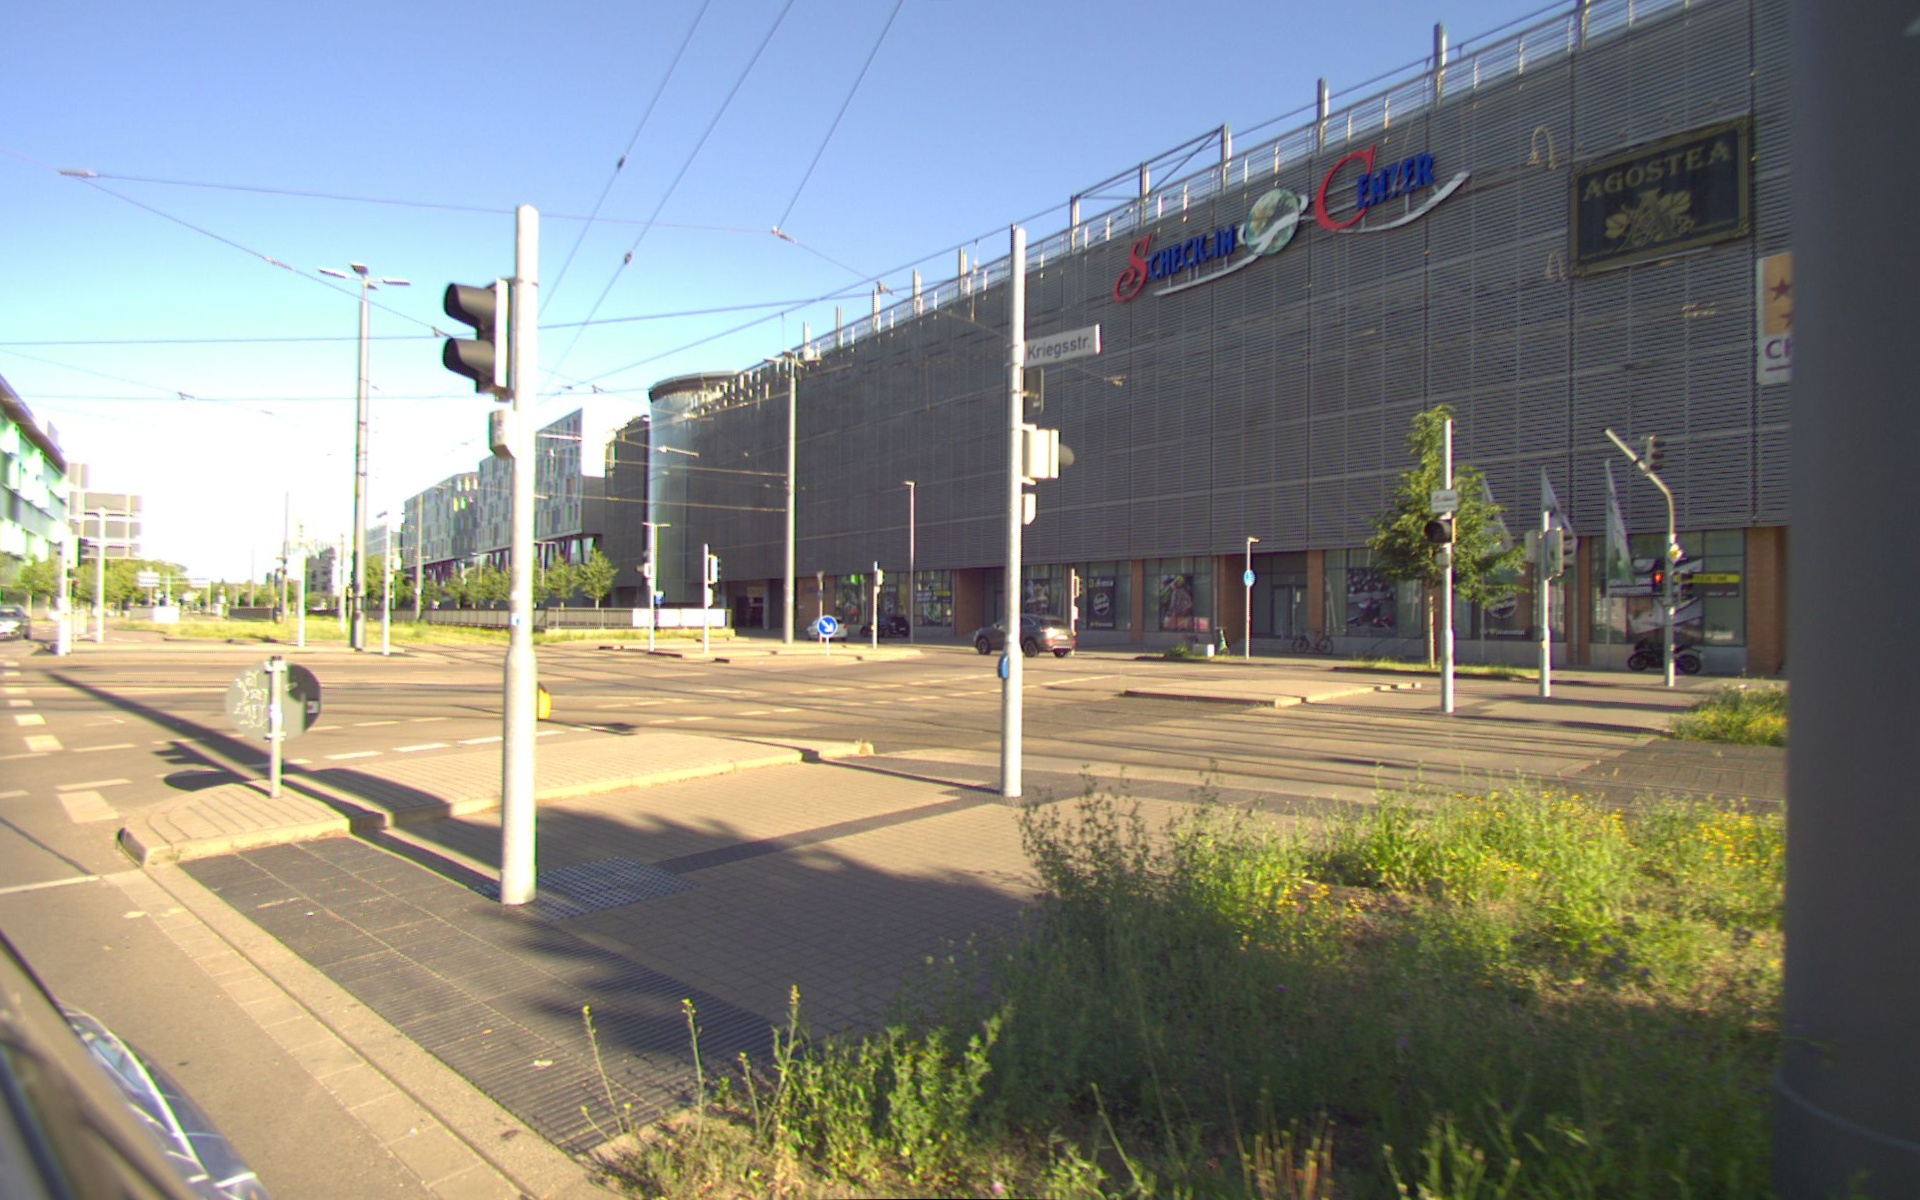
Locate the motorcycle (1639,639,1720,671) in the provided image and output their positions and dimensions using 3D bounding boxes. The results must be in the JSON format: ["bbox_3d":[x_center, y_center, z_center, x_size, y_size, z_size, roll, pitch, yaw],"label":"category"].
[{"bbox_3d":[22.569,1.713,31.777,0.421,0.927,2.028,1,-1,-39],"label":"motorcycle"}]

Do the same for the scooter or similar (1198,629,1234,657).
[{"bbox_3d":[10.261,1.726,40.640,1.361,1.050,0.430,0,0,40],"label":"scooter or similar"}]

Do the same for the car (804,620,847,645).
[{"bbox_3d":[-7.960,1.895,59.730,1.663,1.382,3.602,1,-1,-23],"label":"car"}]

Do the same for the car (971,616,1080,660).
[{"bbox_3d":[2.472,1.429,39.050,1.783,1.587,4.302,2,-2,-38],"label":"car"}]

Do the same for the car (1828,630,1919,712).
[{"bbox_3d":[17.207,1.204,16.527,1.784,1.338,4.411,3,-2,-42],"label":"car"}]

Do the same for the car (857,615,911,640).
[{"bbox_3d":[-5.013,1.779,66.464,1.561,1.541,3.755,0,0,-42],"label":"car"}]

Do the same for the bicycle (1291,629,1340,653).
[{"bbox_3d":[15.209,1.757,43.348,0.577,0.988,1.972,1,-1,-37],"label":"bicycle"}]

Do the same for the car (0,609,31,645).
[{"bbox_3d":[-39.571,1.082,41.765,1.596,1.440,3.774,1,-1,-40],"label":"car"}]
